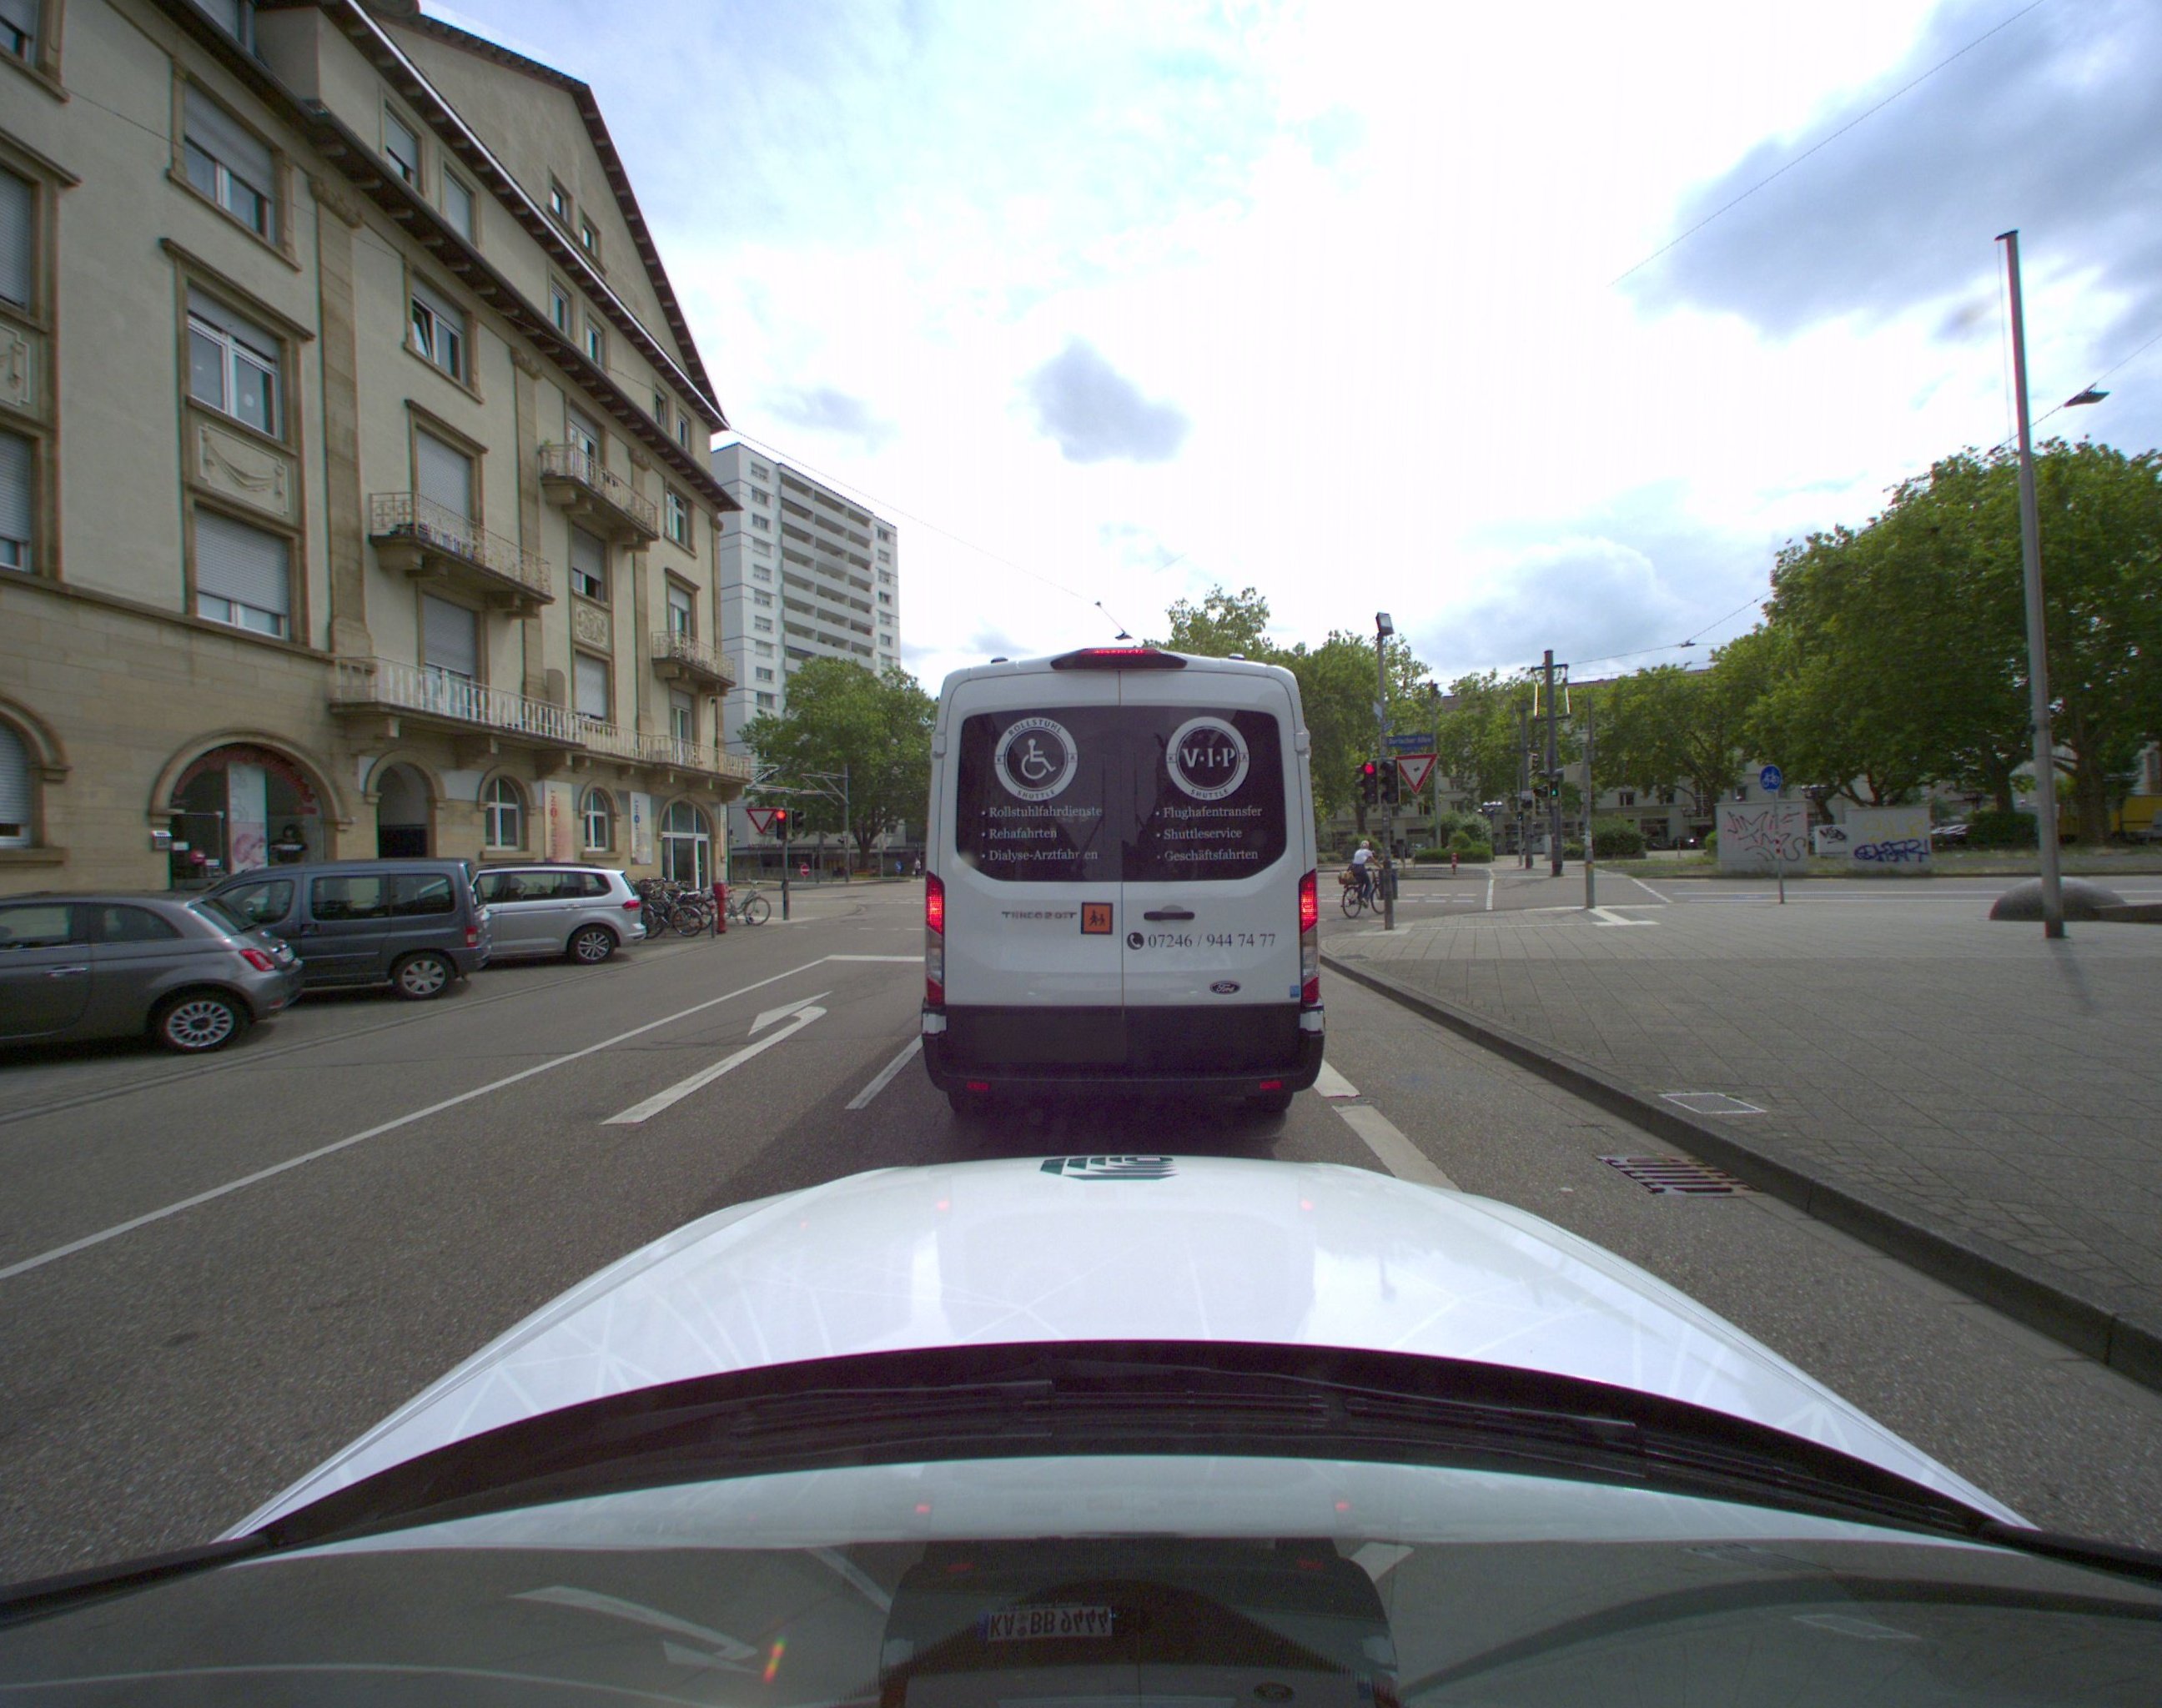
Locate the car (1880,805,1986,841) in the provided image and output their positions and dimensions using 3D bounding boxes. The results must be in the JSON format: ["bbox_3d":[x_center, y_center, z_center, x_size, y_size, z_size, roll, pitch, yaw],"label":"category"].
[{"bbox_3d":[68.910,-2.495,66.012,5.271,2.585,2.512,-2,-1,24],"label":"car"}]

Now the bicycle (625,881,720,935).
[{"bbox_3d":[-9.157,1.210,18.294,1.807,1.166,0.593,0,0,-6],"label":"bicycle"}]

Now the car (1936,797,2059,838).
[{"bbox_3d":[65.720,-2.575,58.543,5.271,2.585,2.512,-2,-1,24],"label":"car"}]

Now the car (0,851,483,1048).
[{"bbox_3d":[-9.905,0.965,10.041,4.031,1.878,1.776,-2,0,-37],"label":"car"}]

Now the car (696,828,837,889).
[{"bbox_3d":[-22.284,0.353,57.643,9.793,3.915,3.476,-2,0,26],"label":"car"}]

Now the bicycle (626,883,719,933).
[{"bbox_3d":[-9.463,1.247,18.913,1.807,1.120,0.593,0,0,-6],"label":"bicycle"}]

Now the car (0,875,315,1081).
[{"bbox_3d":[-9.894,1.114,7.418,4.031,1.651,1.776,-2,0,-37],"label":"car"}]

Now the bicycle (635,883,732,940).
[{"bbox_3d":[-8.555,1.232,17.541,1.800,1.120,0.595,2,0,5],"label":"bicycle"}]

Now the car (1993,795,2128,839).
[{"bbox_3d":[64.899,-2.382,54.095,5.271,2.585,2.192,-2,-1,24],"label":"car"}]

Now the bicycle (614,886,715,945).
[{"bbox_3d":[-8.622,1.268,16.871,1.799,1.120,0.595,-2,0,8],"label":"bicycle"}]

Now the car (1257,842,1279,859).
[{"bbox_3d":[21.700,-0.393,94.654,1.983,1.930,4.008,-2,0,7],"label":"car"}]

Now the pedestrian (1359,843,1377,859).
[{"bbox_3d":[24.697,-0.260,70.008,1.086,1.236,1.443,-4,-1,6],"label":"pedestrian"}]

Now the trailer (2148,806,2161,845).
[{"bbox_3d":[55.421,-1.475,39.277,4.381,1.925,1.865,-2,0,26],"label":"trailer"}]

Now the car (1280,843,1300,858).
[{"bbox_3d":[26.645,-0.460,103.903,1.788,1.684,4.023,-2,0,24],"label":"car"}]

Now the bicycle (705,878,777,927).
[{"bbox_3d":[-8.646,1.210,20.709,1.859,1.167,0.500,0,0,22],"label":"bicycle"}]

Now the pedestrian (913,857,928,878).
[{"bbox_3d":[-12.091,1.016,61.291,0.799,1.572,0.728,-2,0,26],"label":"pedestrian"}]

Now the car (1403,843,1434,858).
[{"bbox_3d":[36.260,-0.409,87.519,1.983,1.503,4.008,-2,0,7],"label":"car"}]

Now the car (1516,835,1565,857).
[{"bbox_3d":[43.867,-0.772,77.827,3.950,1.883,1.868,-2,0,26],"label":"car"}]

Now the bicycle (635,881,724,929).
[{"bbox_3d":[-9.648,1.222,19.616,1.807,1.120,0.593,0,0,-6],"label":"bicycle"}]

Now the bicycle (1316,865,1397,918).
[{"bbox_3d":[6.279,0.827,18.488,1.981,1.075,0.894,-2,0,-43],"label":"bicycle"}]

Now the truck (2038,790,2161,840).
[{"bbox_3d":[58.658,-2.180,46.273,3.042,2.577,6.549,-2,0,25],"label":"truck"}]

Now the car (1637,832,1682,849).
[{"bbox_3d":[55.691,-1.252,78.469,1.757,1.503,4.008,-2,0,7],"label":"car"}]

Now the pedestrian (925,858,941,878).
[{"bbox_3d":[-11.309,1.050,62.066,0.920,1.514,0.728,-2,0,38],"label":"pedestrian"}]

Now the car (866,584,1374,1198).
[{"bbox_3d":[0.205,0.127,5.892,2.174,2.647,4.629,-1,1,1],"label":"car"}]

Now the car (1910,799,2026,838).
[{"bbox_3d":[66.664,-2.639,61.359,5.271,2.585,2.512,-2,-1,24],"label":"car"}]

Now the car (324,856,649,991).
[{"bbox_3d":[-9.510,0.988,13.348,4.031,1.773,1.776,-2,0,-37],"label":"car"}]

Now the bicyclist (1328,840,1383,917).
[{"bbox_3d":[6.232,0.539,18.479,0.761,1.683,0.895,-2,0,-44],"label":"bicyclist"}]
